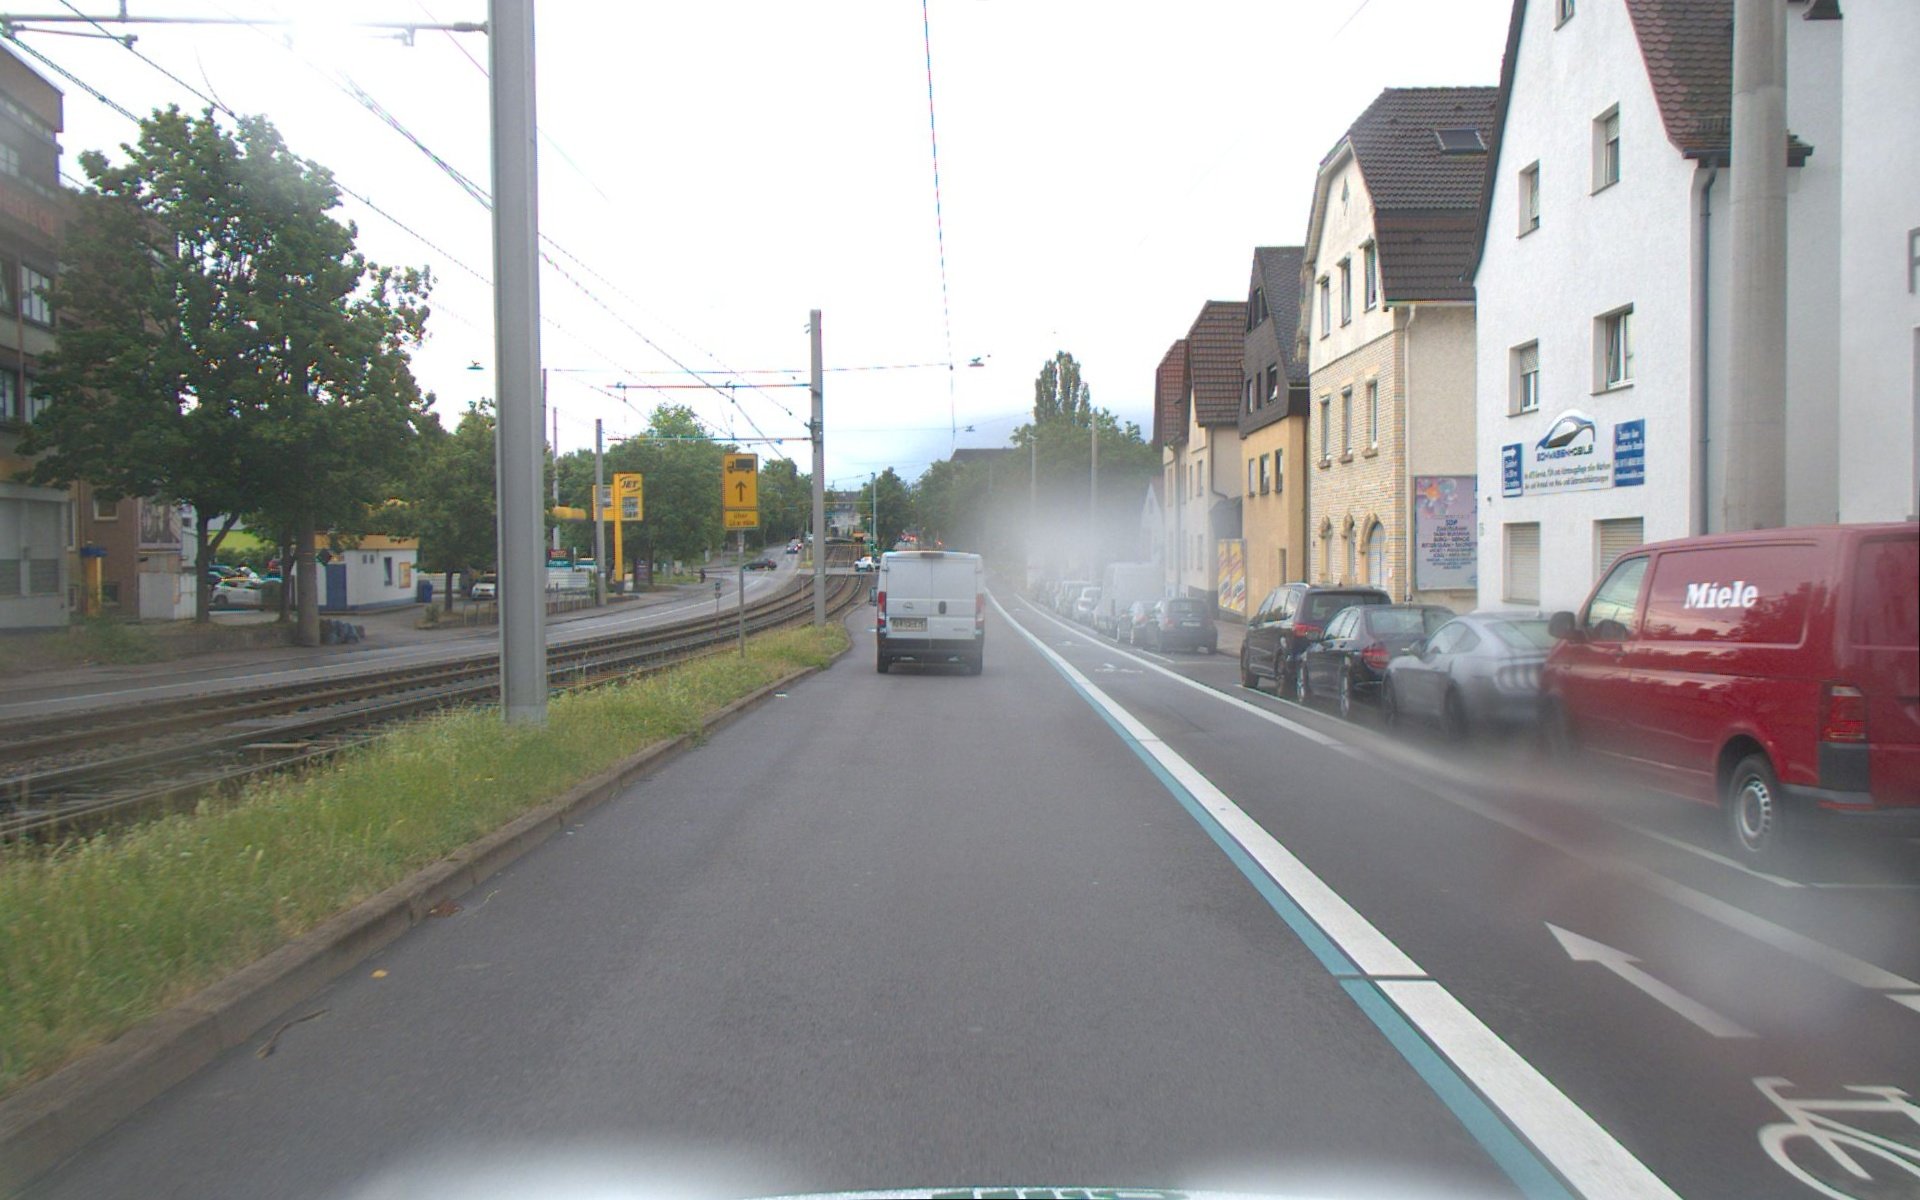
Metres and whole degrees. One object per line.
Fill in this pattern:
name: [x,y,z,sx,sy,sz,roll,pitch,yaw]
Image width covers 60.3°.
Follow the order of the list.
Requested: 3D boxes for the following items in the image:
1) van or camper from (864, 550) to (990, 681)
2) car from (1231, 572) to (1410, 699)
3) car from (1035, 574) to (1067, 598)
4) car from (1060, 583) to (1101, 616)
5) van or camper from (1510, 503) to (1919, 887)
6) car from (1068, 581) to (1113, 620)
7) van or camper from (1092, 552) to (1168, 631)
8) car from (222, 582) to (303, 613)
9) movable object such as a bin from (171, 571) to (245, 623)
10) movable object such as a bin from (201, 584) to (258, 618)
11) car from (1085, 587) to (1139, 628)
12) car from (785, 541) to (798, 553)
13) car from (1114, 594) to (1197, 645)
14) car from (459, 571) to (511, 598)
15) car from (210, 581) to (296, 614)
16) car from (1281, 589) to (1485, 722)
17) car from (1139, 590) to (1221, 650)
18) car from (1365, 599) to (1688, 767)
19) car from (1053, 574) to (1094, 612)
van or camper: [-0.723,0.272,31.908,2.155,2.292,4.680,1,0,-4]
car: [5.755,0.515,26.956,1.802,1.831,4.686,2,0,-1]
car: [5.993,-0.916,109.350,1.810,1.526,3.953,1,1,-2]
car: [5.812,-0.042,80.304,1.613,1.471,3.954,1,1,-1]
van or camper: [5.379,0.457,10.940,1.813,1.954,4.995,-1,0,0]
car: [5.883,0.016,74.749,1.613,1.643,4.104,1,1,-1]
van or camper: [5.989,-0.367,59.000,1.953,2.608,6.043,1,1,-1]
car: [-35.614,-0.134,84.447,3.718,1.505,1.562,1,0,-27]
movable object such as a bin: [-30.944,-0.139,68.145,1.958,1.952,3.562,1,2,-12]
movable object such as a bin: [-32.049,0.025,72.626,1.958,1.399,1.565,1,2,-12]
car: [5.917,0.278,64.788,1.674,1.471,4.041,1,1,0]
car: [-24.781,-7.796,243.435,1.656,1.741,3.775,1,0,-2]
car: [6.060,0.579,51.761,1.753,1.430,4.549,1,1,-4]
car: [-27.200,-0.881,94.886,1.954,1.467,3.998,1,0,-3]
car: [-33.904,-0.119,79.348,3.718,1.479,1.539,1,0,-27]
car: [5.552,0.665,22.198,1.600,1.565,4.135,2,0,-1]
car: [6.065,0.528,45.943,1.534,1.524,3.510,2,0,-4]
car: [5.409,0.707,16.462,1.759,1.400,4.671,0,0,2]
car: [5.876,-0.377,85.854,1.712,1.839,3.953,1,2,-2]
